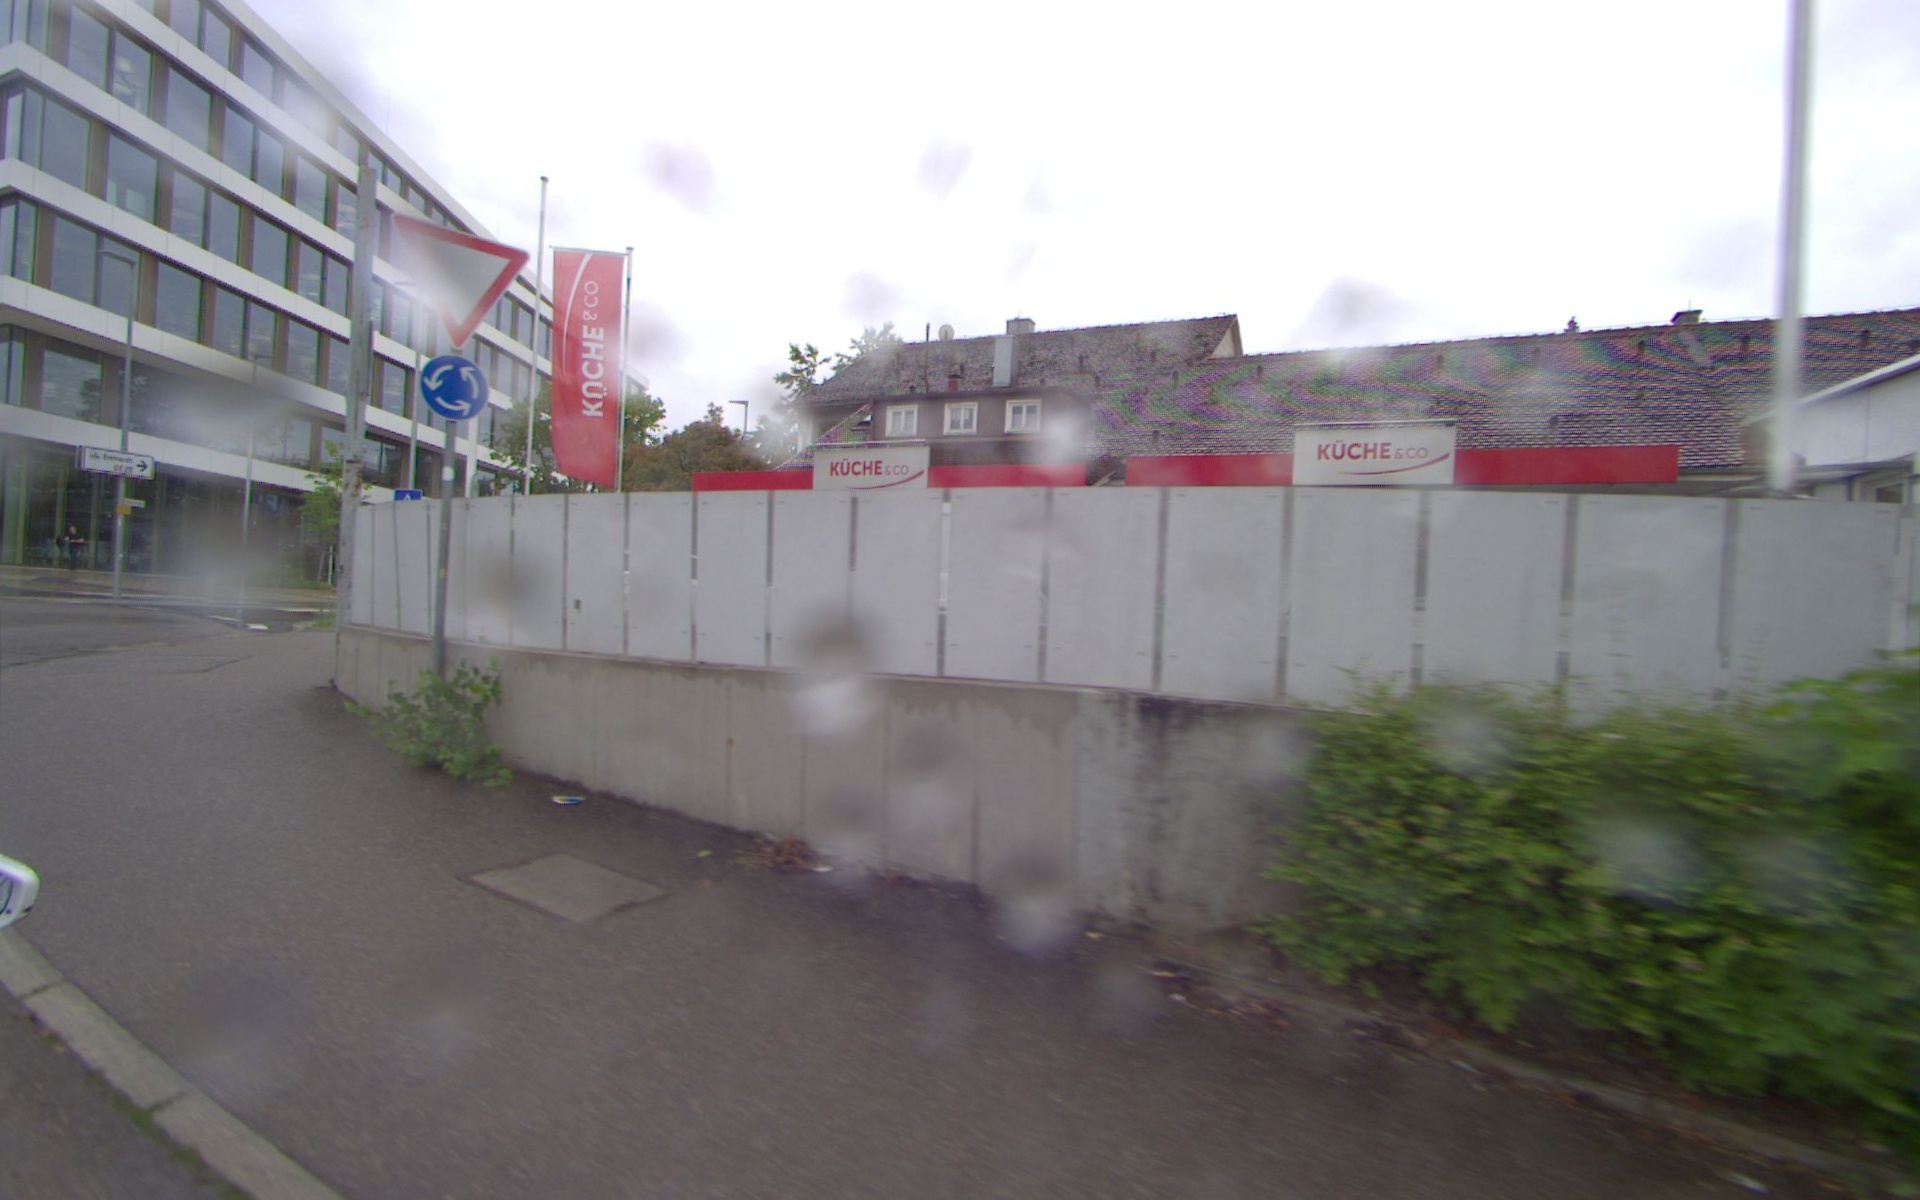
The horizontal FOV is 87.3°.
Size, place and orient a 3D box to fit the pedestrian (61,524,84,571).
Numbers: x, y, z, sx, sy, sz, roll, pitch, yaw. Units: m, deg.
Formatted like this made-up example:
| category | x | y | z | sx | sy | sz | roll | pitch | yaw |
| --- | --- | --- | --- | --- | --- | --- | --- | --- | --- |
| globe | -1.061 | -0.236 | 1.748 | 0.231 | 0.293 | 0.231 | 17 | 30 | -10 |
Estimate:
| category | x | y | z | sx | sy | sz | roll | pitch | yaw |
| --- | --- | --- | --- | --- | --- | --- | --- | --- | --- |
| pedestrian | -36.598 | -2.166 | 41.497 | 0.591 | 1.866 | 0.449 | 4 | -1 | -40 |
